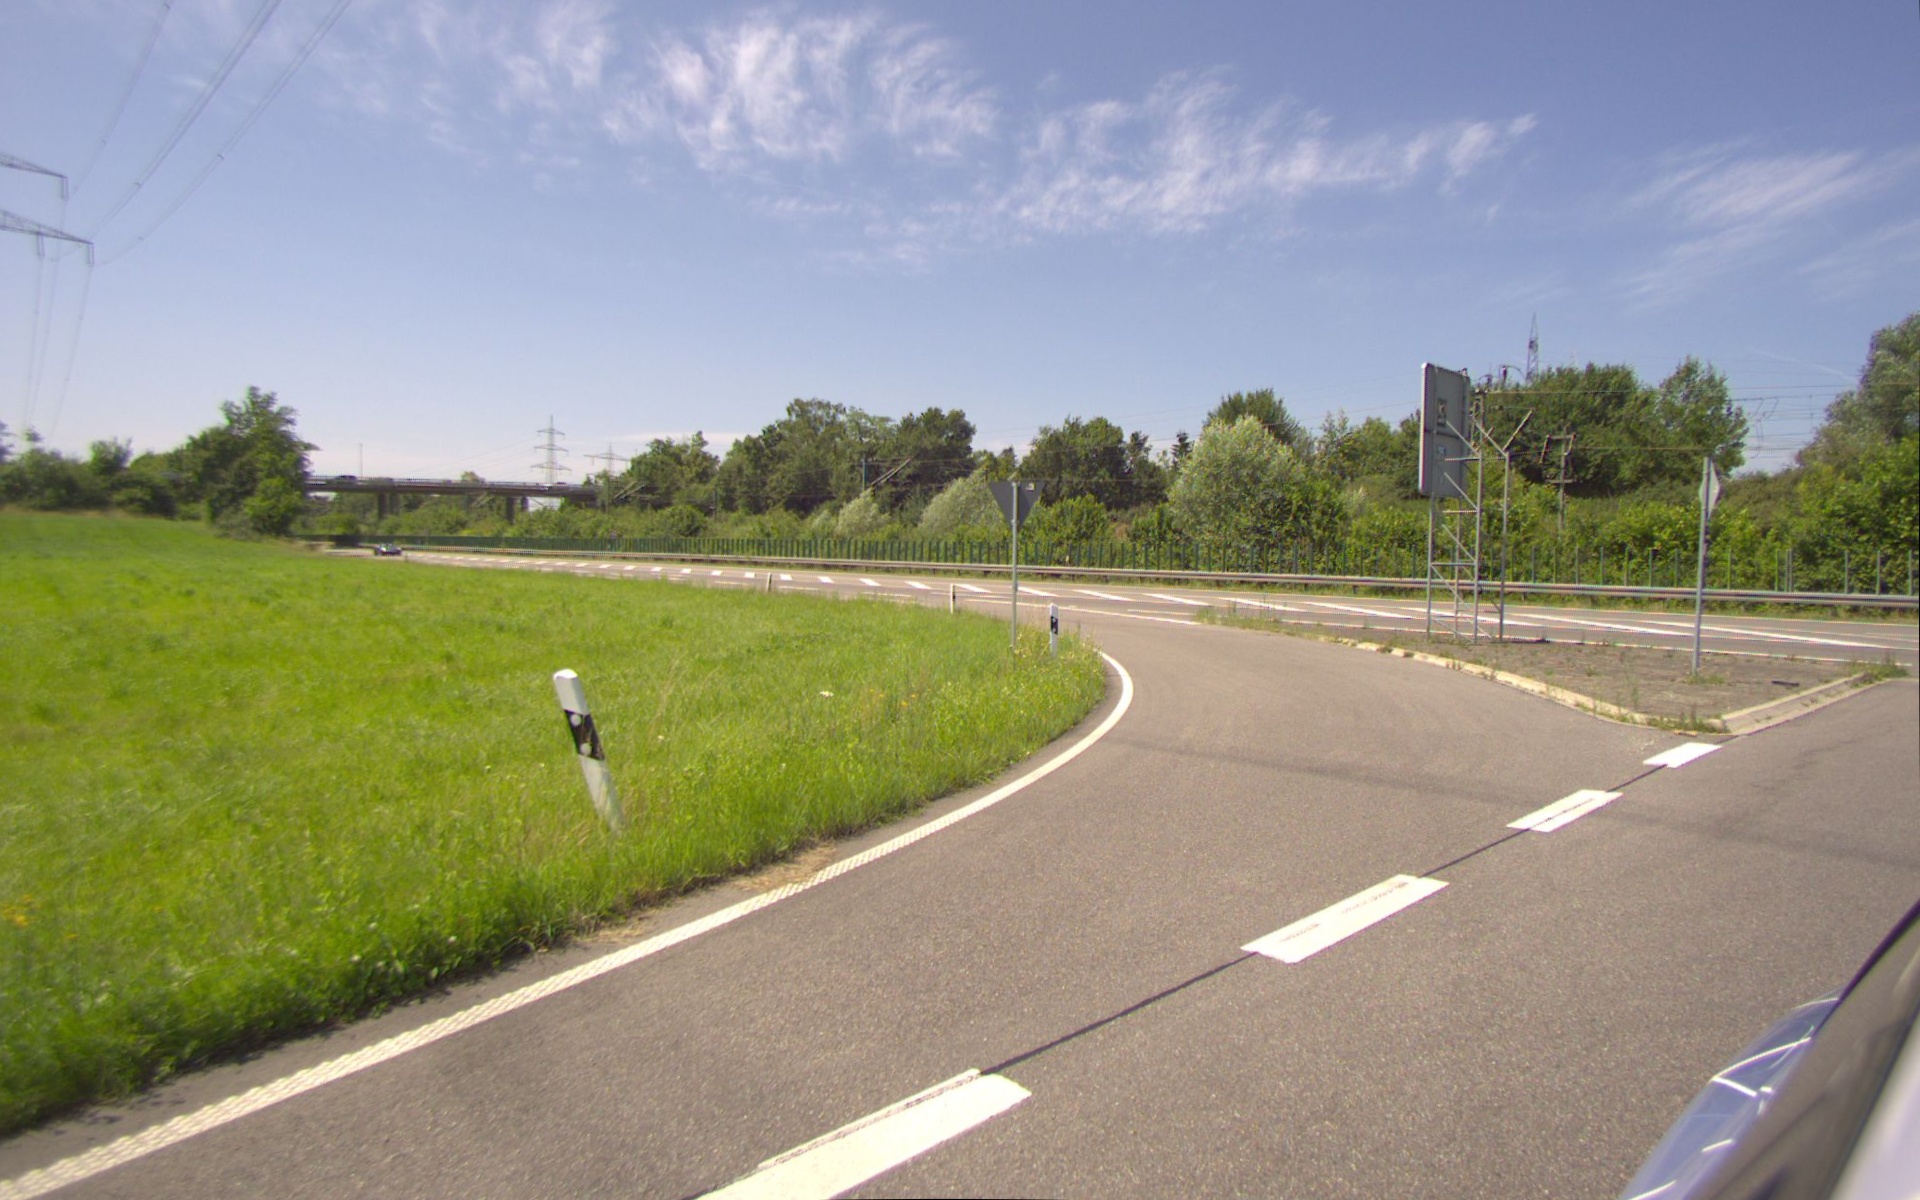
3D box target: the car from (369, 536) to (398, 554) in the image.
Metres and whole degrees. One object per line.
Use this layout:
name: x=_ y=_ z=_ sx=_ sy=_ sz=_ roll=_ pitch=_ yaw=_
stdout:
car: x=-57.757 y=-5.532 z=101.345 sx=1.695 sy=1.744 sz=3.994 roll=-1 pitch=4 yaw=-42
